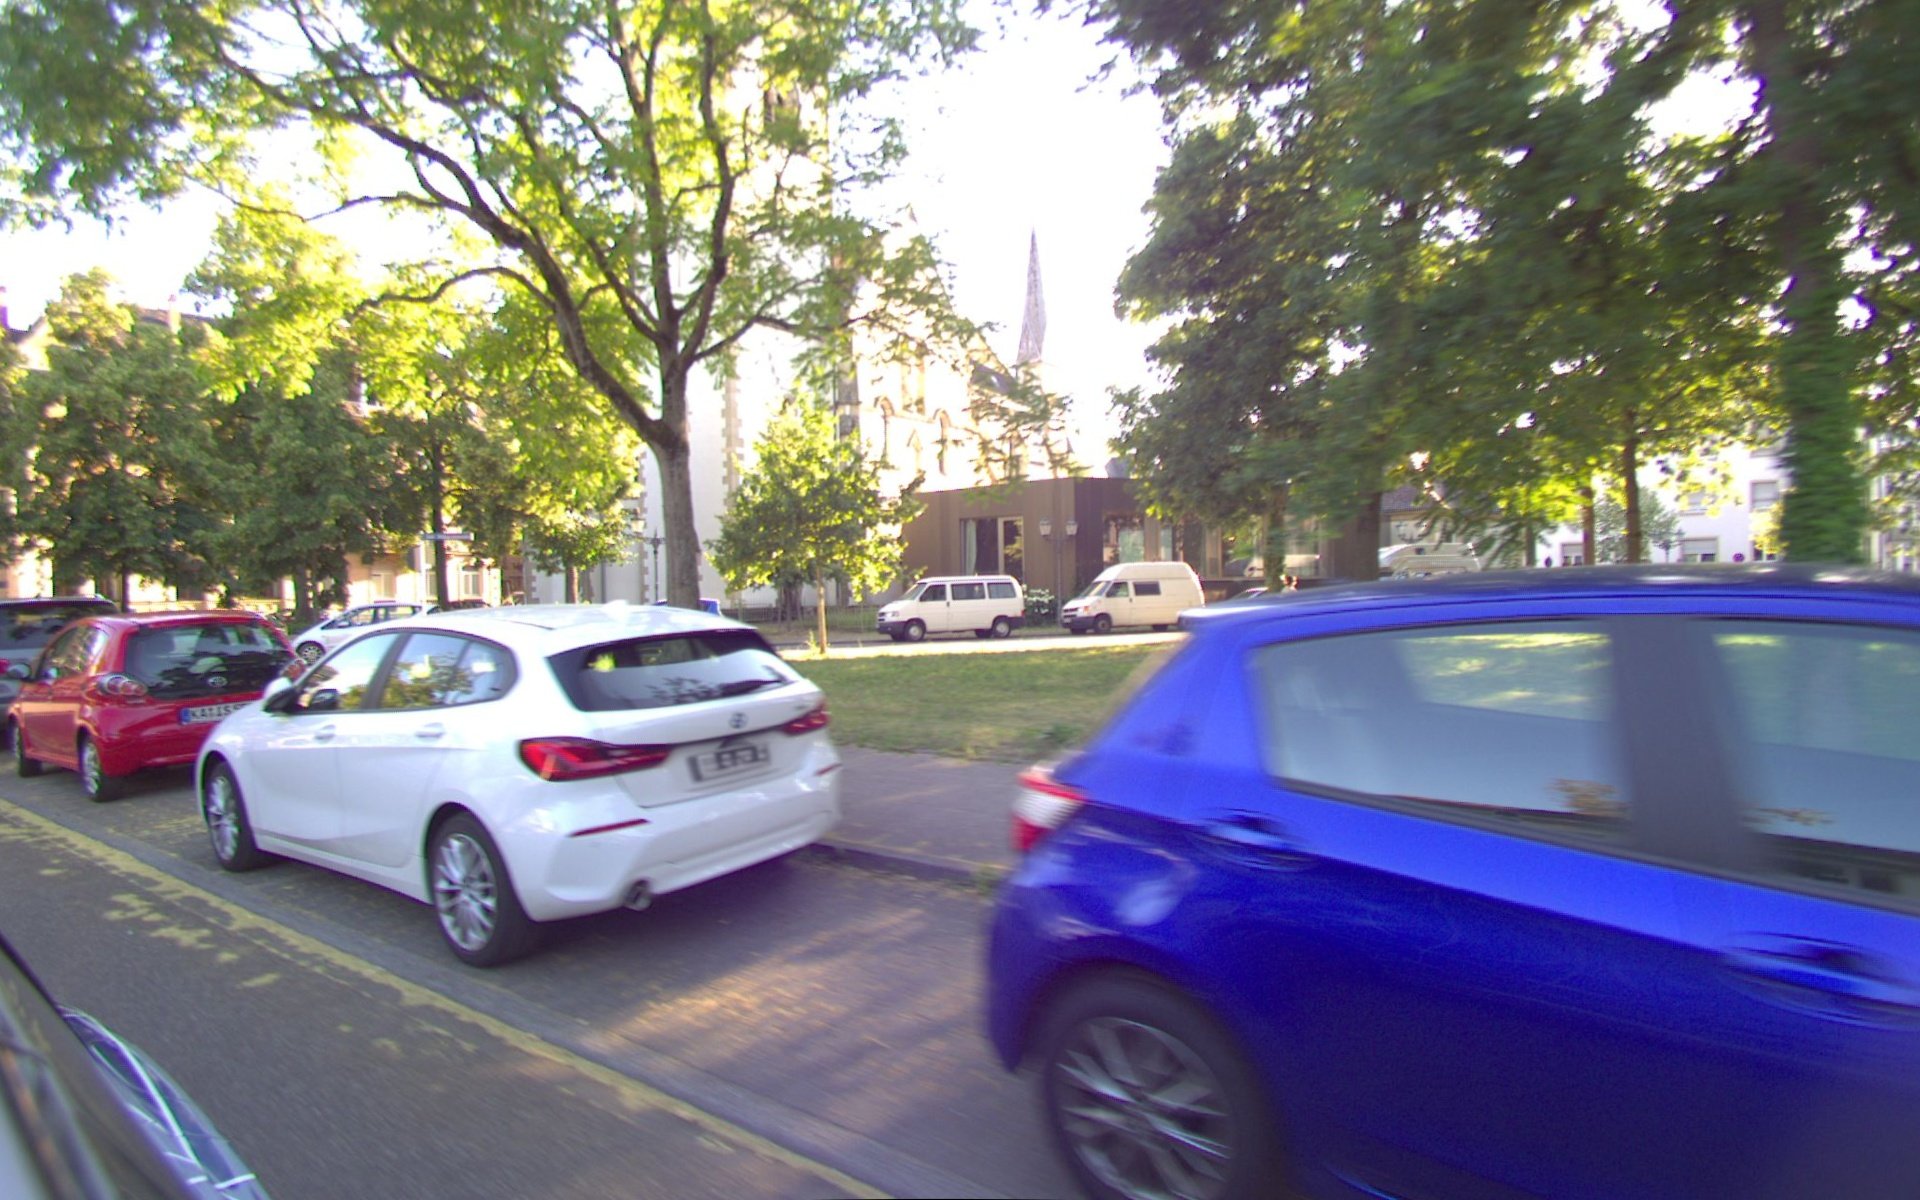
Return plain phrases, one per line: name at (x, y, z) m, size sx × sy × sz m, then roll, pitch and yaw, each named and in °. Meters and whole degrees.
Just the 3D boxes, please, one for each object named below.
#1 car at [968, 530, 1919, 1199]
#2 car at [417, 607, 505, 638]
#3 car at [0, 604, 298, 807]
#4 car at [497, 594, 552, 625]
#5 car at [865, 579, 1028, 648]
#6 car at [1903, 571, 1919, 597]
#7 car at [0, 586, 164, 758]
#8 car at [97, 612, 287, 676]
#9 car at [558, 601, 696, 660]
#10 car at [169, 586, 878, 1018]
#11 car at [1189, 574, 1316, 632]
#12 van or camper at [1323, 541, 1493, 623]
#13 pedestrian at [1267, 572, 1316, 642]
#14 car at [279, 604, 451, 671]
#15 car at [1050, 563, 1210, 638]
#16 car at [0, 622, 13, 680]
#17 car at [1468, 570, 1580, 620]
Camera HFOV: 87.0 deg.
car at (1.998, 0.616, 1.925) m, size 3.699 × 1.507 × 1.623 m, roll -1°, pitch 2°, yaw 38°
car at (-28.613, 1.267, 58.134) m, size 1.887 × 1.668 × 4.170 m, roll -1°, pitch 0°, yaw 35°
car at (-7.436, 0.817, 9.095) m, size 3.421 × 1.434 × 1.375 m, roll -1°, pitch 2°, yaw 38°
car at (-32.666, 0.719, 75.931) m, size 4.212 × 2.278 × 1.869 m, roll -1°, pitch 0°, yaw 36°
car at (-0.440, 0.389, 32.078) m, size 4.757 × 1.961 × 1.863 m, roll -2°, pitch 0°, yaw -18°
car at (56.843, -0.969, 59.241) m, size 3.348 × 1.457 × 1.520 m, roll -2°, pitch 0°, yaw -31°
car at (-11.192, 0.767, 11.921) m, size 4.314 × 1.688 × 1.785 m, roll -1°, pitch 2°, yaw 38°
car at (-19.583, 1.107, 25.961) m, size 3.544 × 1.451 × 1.622 m, roll -2°, pitch -1°, yaw -17°
car at (-9.538, 0.850, 29.088) m, size 3.633 × 1.512 × 1.626 m, roll -2°, pitch 0°, yaw -18°
car at (-2.491, 0.720, 5.347) m, size 3.968 × 1.416 × 1.675 m, roll -1°, pitch 2°, yaw 38°
car at (10.513, 0.085, 36.380) m, size 4.072 × 1.900 × 1.863 m, roll -2°, pitch 0°, yaw -24°
van or camper at (17.231, -0.707, 38.879) m, size 6.222 × 2.930 × 2.104 m, roll -2°, pitch 0°, yaw -21°
pedestrian at (7.695, 0.155, 23.498) m, size 0.755 × 1.586 × 0.777 m, roll -2°, pitch 0°, yaw -9°
car at (-15.718, 0.960, 26.939) m, size 3.633 × 1.591 × 1.715 m, roll -2°, pitch 0°, yaw -18°
car at (5.786, -0.018, 34.365) m, size 5.096 × 2.373 × 1.863 m, roll -2°, pitch 0°, yaw -24°
car at (-25.854, 1.310, 24.141) m, size 4.418 × 1.426 × 1.836 m, roll -2°, pitch -2°, yaw -17°
car at (22.715, -0.216, 40.760) m, size 4.072 × 1.900 × 1.863 m, roll -2°, pitch 0°, yaw -24°
